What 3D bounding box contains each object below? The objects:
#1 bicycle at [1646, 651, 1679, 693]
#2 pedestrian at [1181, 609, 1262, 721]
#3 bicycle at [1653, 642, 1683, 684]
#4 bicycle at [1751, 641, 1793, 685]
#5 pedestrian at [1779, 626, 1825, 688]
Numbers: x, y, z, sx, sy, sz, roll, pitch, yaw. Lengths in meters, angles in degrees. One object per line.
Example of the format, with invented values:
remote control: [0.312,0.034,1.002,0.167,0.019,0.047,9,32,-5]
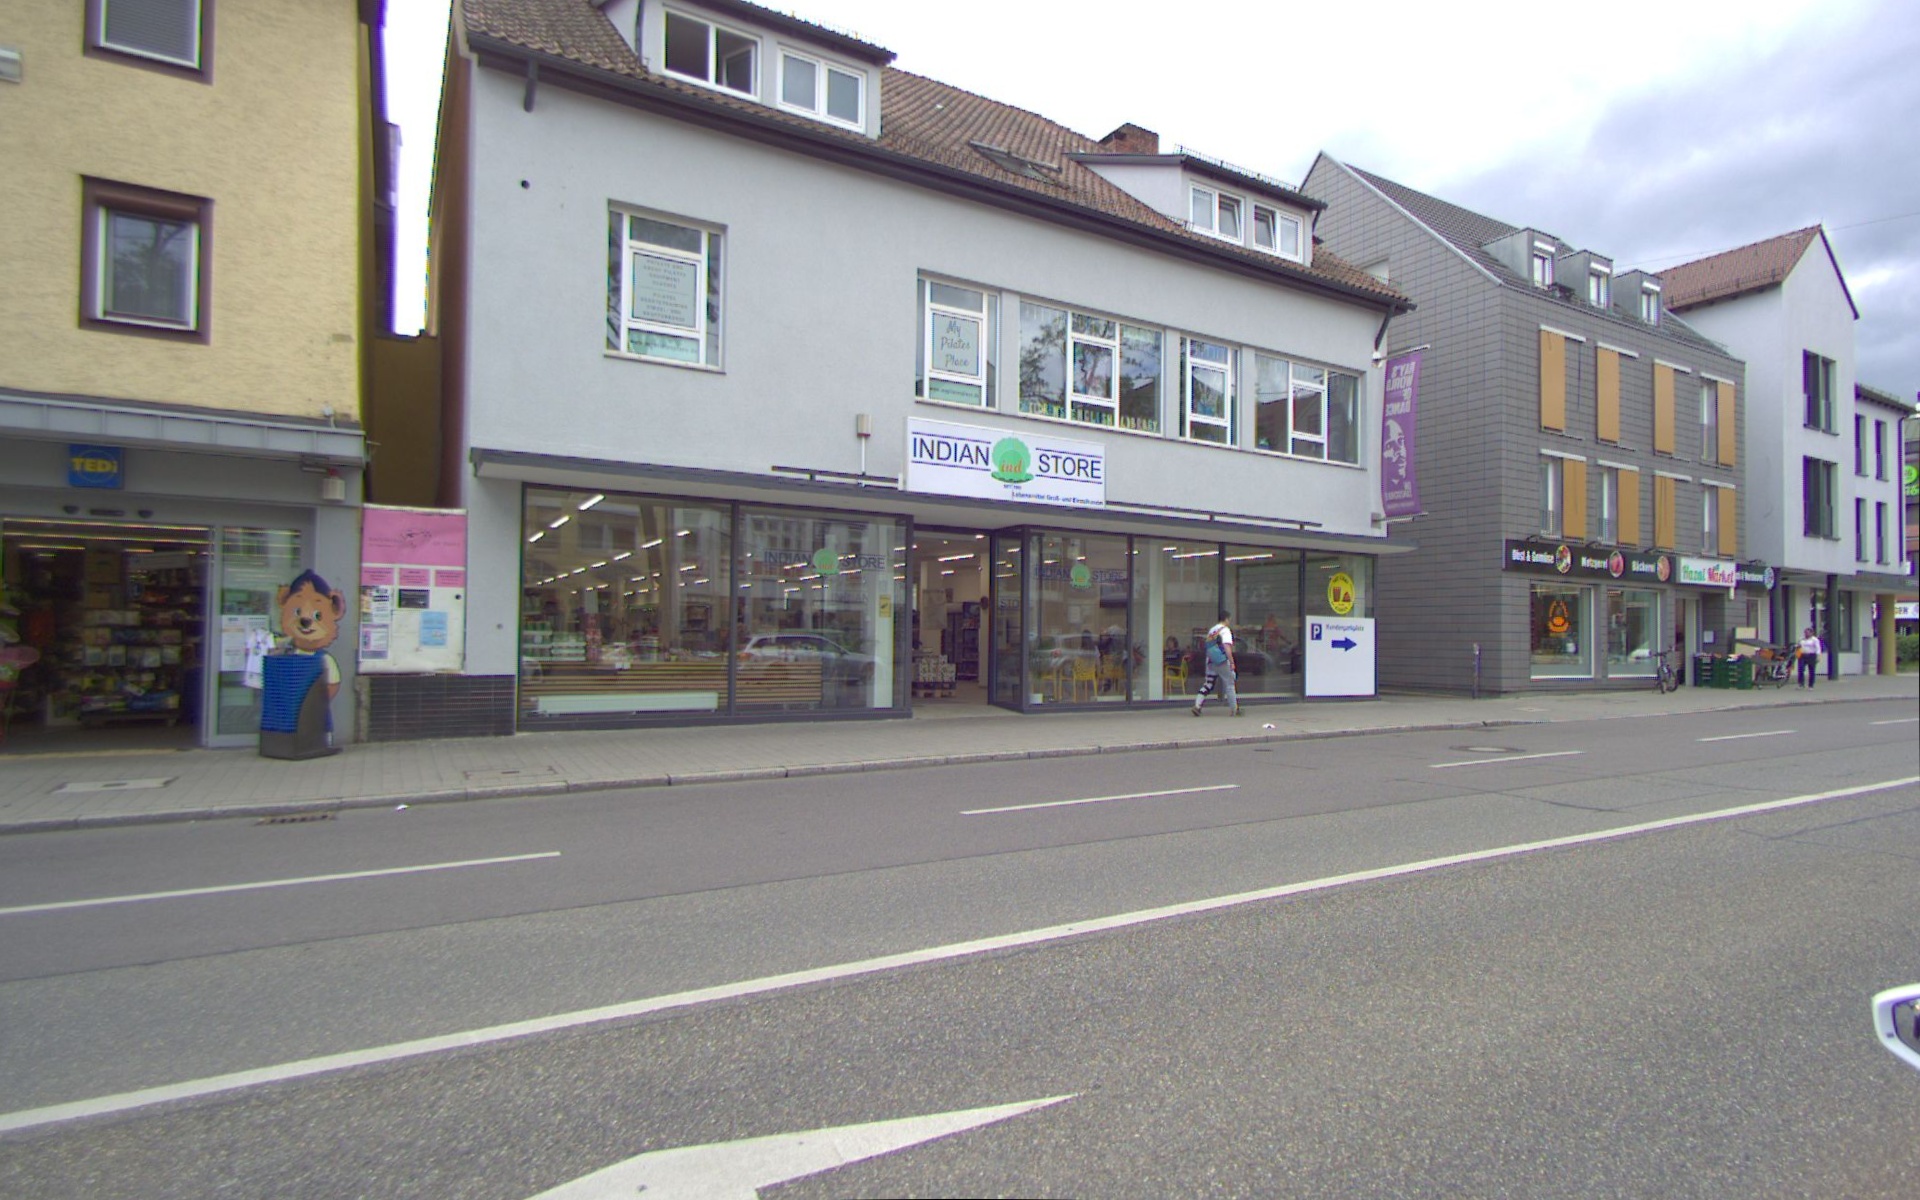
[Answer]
bicycle: [17.242,1.755,24.650,1.472,0.966,0.323,2,-2,-41]
pedestrian: [4.245,1.038,16.326,0.969,1.728,0.750,1,1,-30]
bicycle: [19.936,1.764,28.273,1.279,1.142,0.383,2,-2,-40]
bicycle: [22.930,1.766,28.363,1.806,1.201,0.384,1,-2,-33]
pedestrian: [22.542,1.509,26.888,0.744,1.631,0.725,1,-1,-29]
